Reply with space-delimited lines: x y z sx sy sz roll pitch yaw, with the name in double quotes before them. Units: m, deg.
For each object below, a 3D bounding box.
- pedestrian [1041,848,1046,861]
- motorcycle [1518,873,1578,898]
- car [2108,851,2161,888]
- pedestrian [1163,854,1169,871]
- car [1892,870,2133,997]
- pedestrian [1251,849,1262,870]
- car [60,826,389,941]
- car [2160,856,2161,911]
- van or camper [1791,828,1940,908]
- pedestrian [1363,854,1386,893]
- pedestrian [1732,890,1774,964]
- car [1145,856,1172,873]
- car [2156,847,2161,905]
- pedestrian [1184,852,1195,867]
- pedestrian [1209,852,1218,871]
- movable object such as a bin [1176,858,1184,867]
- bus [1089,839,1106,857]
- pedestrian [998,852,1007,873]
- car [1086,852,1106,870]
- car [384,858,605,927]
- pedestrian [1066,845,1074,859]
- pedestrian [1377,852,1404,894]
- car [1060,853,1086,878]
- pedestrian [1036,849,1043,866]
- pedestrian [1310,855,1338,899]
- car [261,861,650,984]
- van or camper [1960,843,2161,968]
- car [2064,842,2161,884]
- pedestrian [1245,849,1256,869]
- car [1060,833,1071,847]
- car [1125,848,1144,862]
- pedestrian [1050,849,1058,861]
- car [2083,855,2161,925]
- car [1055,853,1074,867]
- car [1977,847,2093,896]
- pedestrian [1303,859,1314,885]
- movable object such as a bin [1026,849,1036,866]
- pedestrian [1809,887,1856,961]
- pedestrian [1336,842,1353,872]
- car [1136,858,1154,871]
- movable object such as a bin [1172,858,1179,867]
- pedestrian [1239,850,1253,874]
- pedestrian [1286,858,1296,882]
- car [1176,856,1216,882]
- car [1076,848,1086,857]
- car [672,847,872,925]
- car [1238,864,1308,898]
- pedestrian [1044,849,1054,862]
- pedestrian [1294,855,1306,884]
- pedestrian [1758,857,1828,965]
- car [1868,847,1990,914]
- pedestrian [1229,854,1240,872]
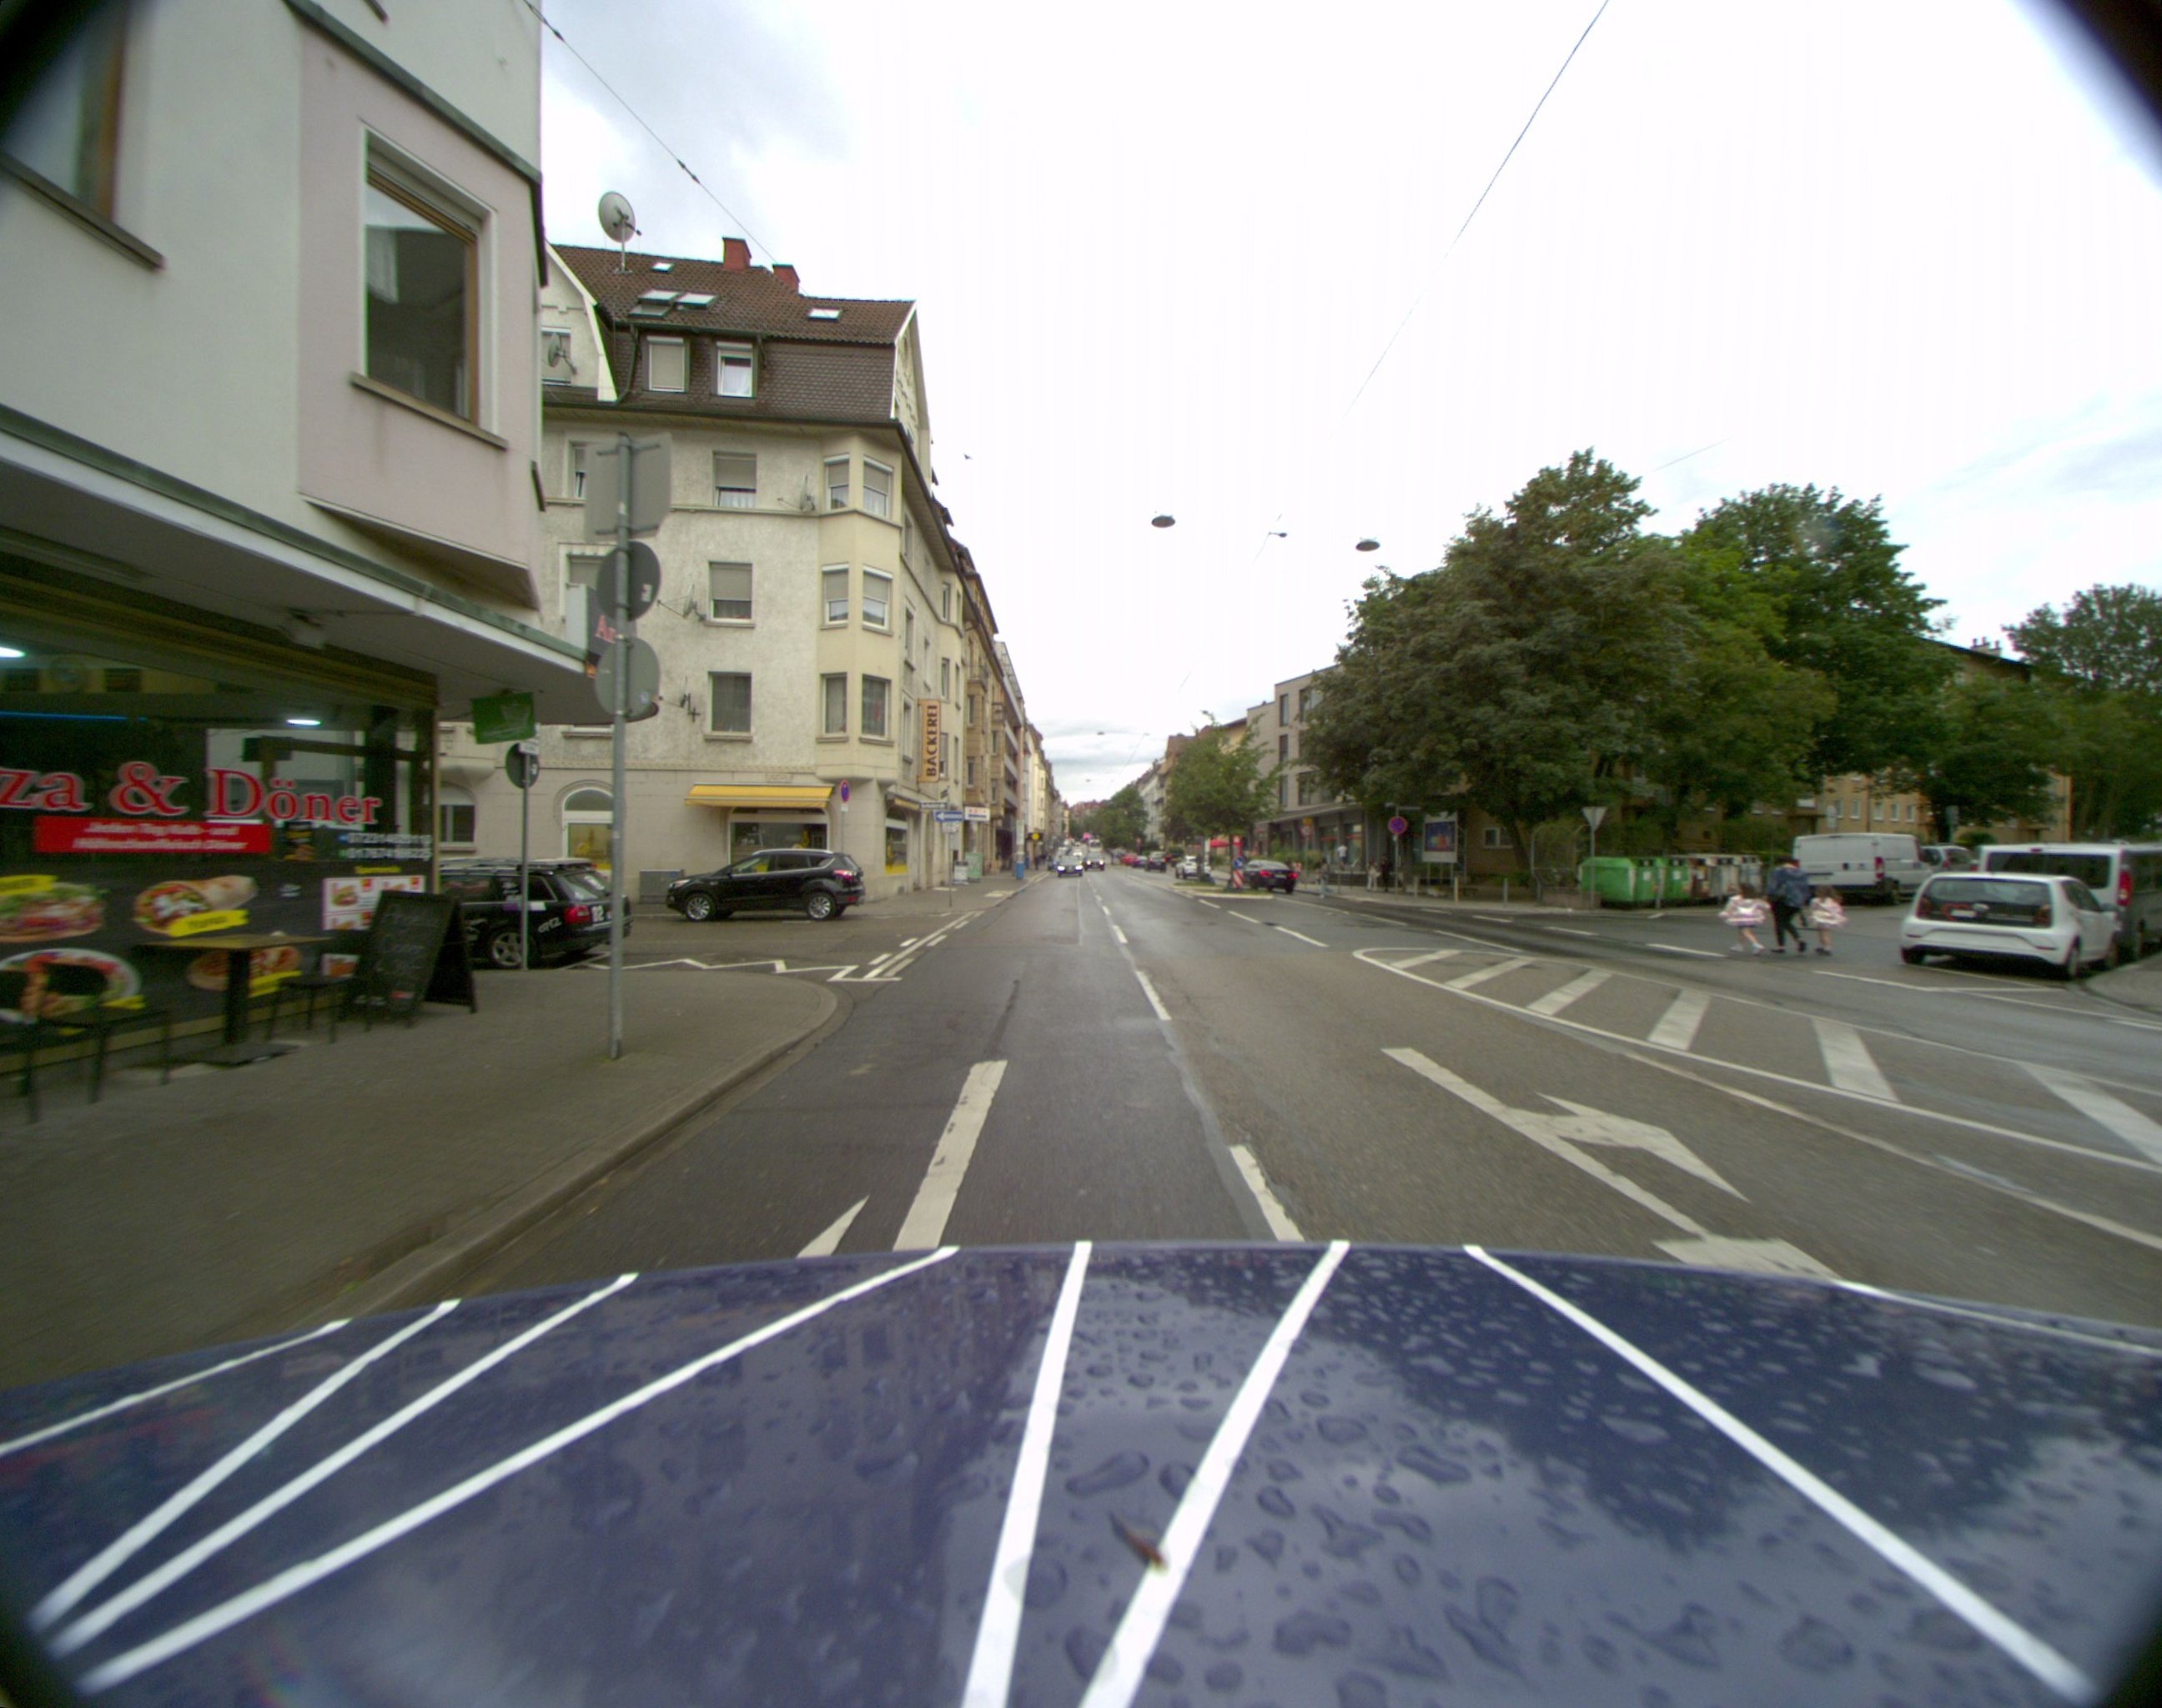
"pedestrian" -5.031 0.005 102.357 0.611 1.738 0.698 2 1 0
"motorcycle" 20.507 1.383 33.399 2.055 0.982 0.797 -2 0 15
"car" 60.646 0.857 42.999 4.004 2.002 1.996 1 0 -21
"pedestrian" 10.383 1.013 92.759 0.703 2.002 0.782 0 2 -4
"car" 14.415 1.092 11.737 3.595 1.561 1.736 1 3 -31
"pedestrian" 14.615 0.453 63.384 0.711 1.669 0.801 0 1 27
"car" -19.128 0.599 17.216 4.736 2.391 2.014 -1 1 -7
"car" 29.347 0.734 19.234 4.006 1.455 1.690 0 1 -26
"van or camper" 25.130 0.389 24.322 4.625 2.253 2.207 -2 1 -29
"pedestrian" 13.376 0.887 34.619 0.658 1.749 0.719 0 1 -24
"pedestrian" 11.117 1.201 12.566 0.410 1.191 0.311 0 1 -7
"car" 7.430 0.960 73.218 1.960 1.548 4.242 2 0 -2
"car" 34.250 0.681 22.588 4.006 1.718 1.995 0 1 -26
"pedestrian" 12.064 0.632 84.452 0.793 1.699 0.761 -2 1 -25
"pedestrian" 12.785 0.724 73.232 0.591 1.809 0.870 0 1 -9
"movable object such as a bin" 12.450 1.067 95.410 0.743 1.052 0.811 -1 2 -25
"bus" 3.331 -1.323 157.540 2.813 3.228 11.957 4 1 -2
"pedestrian" -5.888 0.658 57.323 0.563 1.563 0.626 0 1 -17
"car" 1.400 0.636 71.753 1.856 1.646 4.205 0 0 1
"car" -13.578 0.872 17.792 3.696 1.482 1.779 1 1 -7
"pedestrian" -1.368 -0.241 94.025 0.701 1.637 0.785 3 1 34
"pedestrian" 13.833 0.835 33.964 0.863 1.834 0.693 0 1 -15
"car" -0.512 0.789 54.705 1.734 1.539 3.980 1 2 1
"pedestrian" -4.121 0.326 76.269 0.627 1.642 0.748 -2 0 0
"pedestrian" 10.070 0.937 31.503 0.724 1.815 0.853 -1 0 -23
"car" -9.055 0.933 11.360 4.119 1.598 1.804 0 2 -6
"van or camper" 18.790 0.811 14.177 4.975 2.002 1.995 0 1 -28
"car" 51.699 0.457 38.012 4.004 2.002 1.996 1 0 -21
"pedestrian" 14.403 0.436 64.607 0.715 1.669 0.713 0 1 -1
"car" -4.050 -3.611 196.563 2.554 3.613 9.047 0 1 -1
"car" 7.258 0.135 104.021 2.111 1.754 5.058 2 1 -1
"pedestrian" -3.672 0.146 102.545 0.791 1.656 0.699 2 1 15
"car" 24.174 0.765 16.628 3.733 1.435 1.995 0 1 -26
"car" -1.675 0.569 77.356 1.739 1.302 3.767 -2 1 2
"car" 41.343 0.743 32.940 4.004 2.002 1.996 1 0 -21
"pedestrian" 13.184 1.025 43.972 0.461 1.465 0.530 0 1 -4
"movable object such as a bin" -5.181 0.337 78.383 1.002 1.783 1.295 1 1 -2
"pedestrian" 12.434 1.148 12.570 0.410 1.191 0.358 0 1 -7
"pedestrian" 16.117 0.211 46.478 0.724 1.815 0.720 -1 0 -28
"car" 7.511 1.276 90.151 1.959 1.503 4.913 -1 0 3
"movable object such as a bin" 11.964 1.094 96.166 0.742 1.052 0.579 0 2 3
"pedestrian" 12.584 0.606 57.948 0.724 1.815 0.721 -1 0 -19
"pedestrian" 12.174 0.931 44.078 0.434 1.402 0.481 0 1 -4
"car" 7.667 0.958 50.887 1.824 1.560 4.088 4 0 -2
"car" -0.090 -0.287 145.735 1.796 1.768 3.902 0 1 -1
"car" -7.317 0.740 18.397 4.151 1.761 1.872 0 0 -8
"car" 8.747 1.188 35.043 2.019 1.417 4.499 1 0 0
"pedestrian" -4.296 0.181 101.624 0.855 1.738 1.061 2 1 -28
"pedestrian" 12.675 0.900 43.988 0.499 1.664 0.552 0 1 -4
"pedestrian" 11.772 0.921 12.577 0.576 1.752 0.581 0 1 -7
"car" 30.359 0.894 27.202 4.006 2.242 1.995 1 0 -28
"pedestrian" 12.548 0.749 62.146 0.590 1.412 0.726 1 1 34
